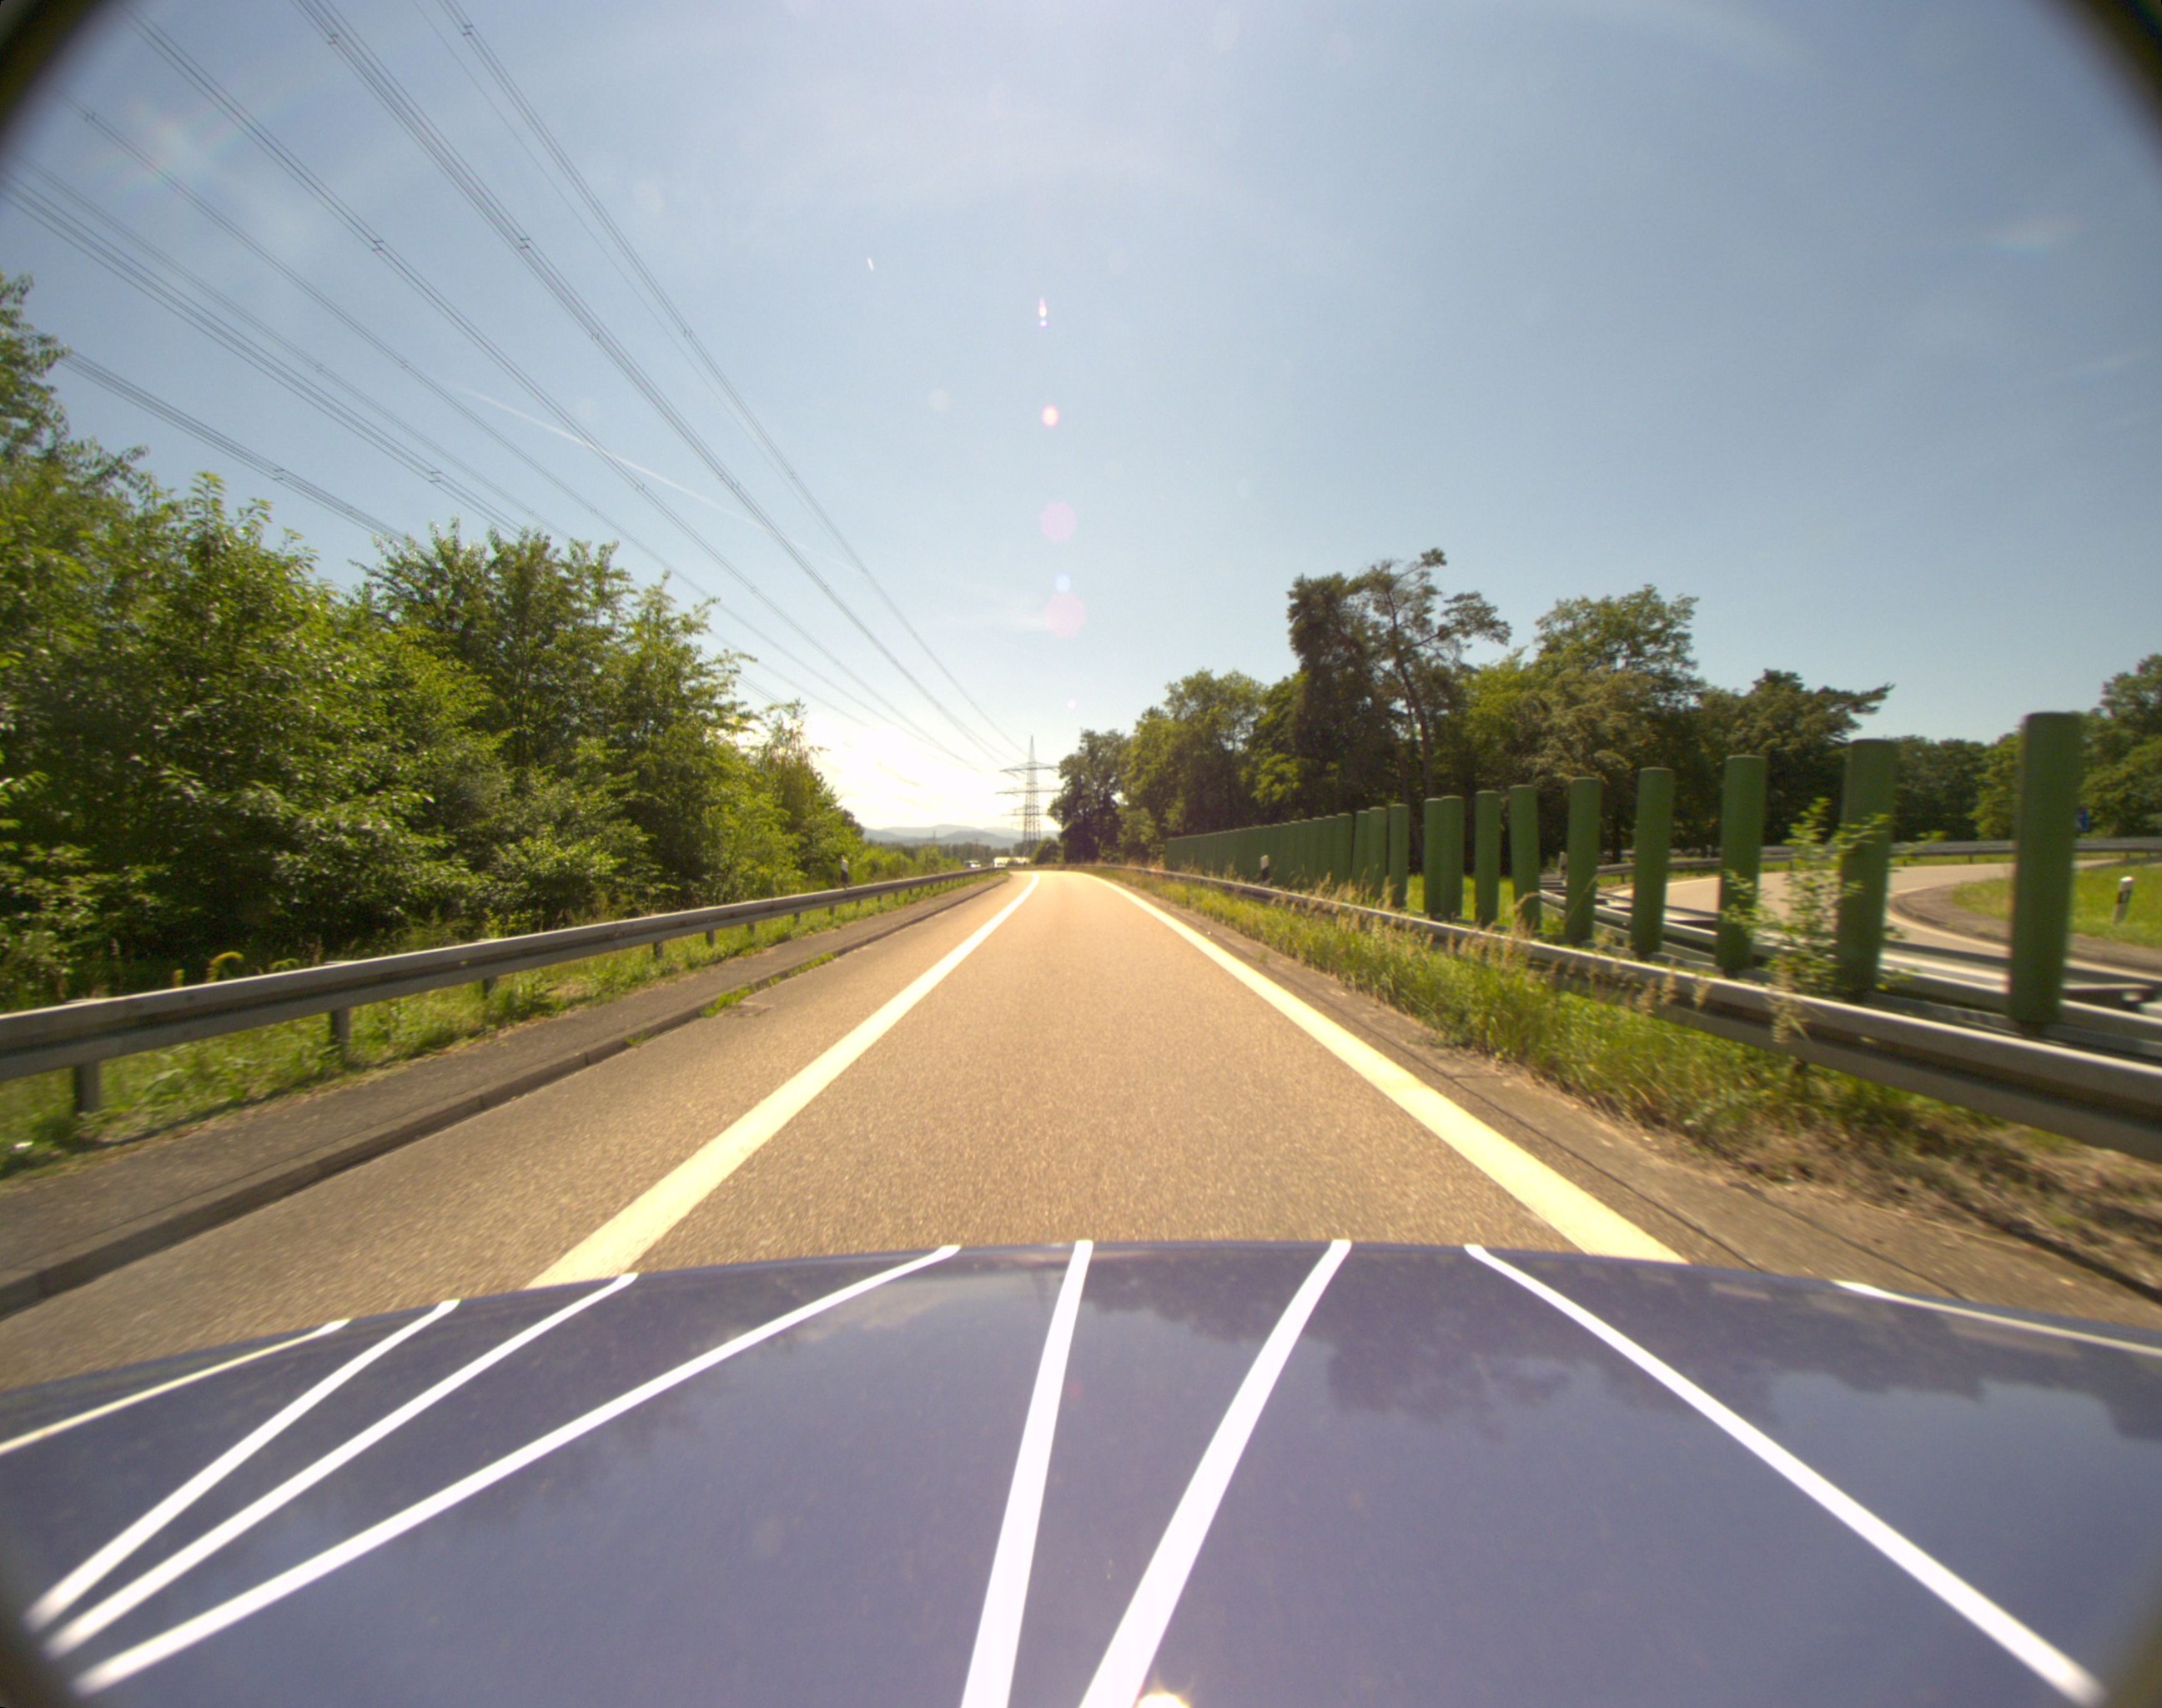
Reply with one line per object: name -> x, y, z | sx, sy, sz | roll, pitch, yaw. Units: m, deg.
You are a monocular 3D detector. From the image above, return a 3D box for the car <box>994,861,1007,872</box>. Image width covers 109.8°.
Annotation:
car -> -12.884, 1.955, 122.031 | 1.999, 1.674, 3.998 | -2, 0, -6
